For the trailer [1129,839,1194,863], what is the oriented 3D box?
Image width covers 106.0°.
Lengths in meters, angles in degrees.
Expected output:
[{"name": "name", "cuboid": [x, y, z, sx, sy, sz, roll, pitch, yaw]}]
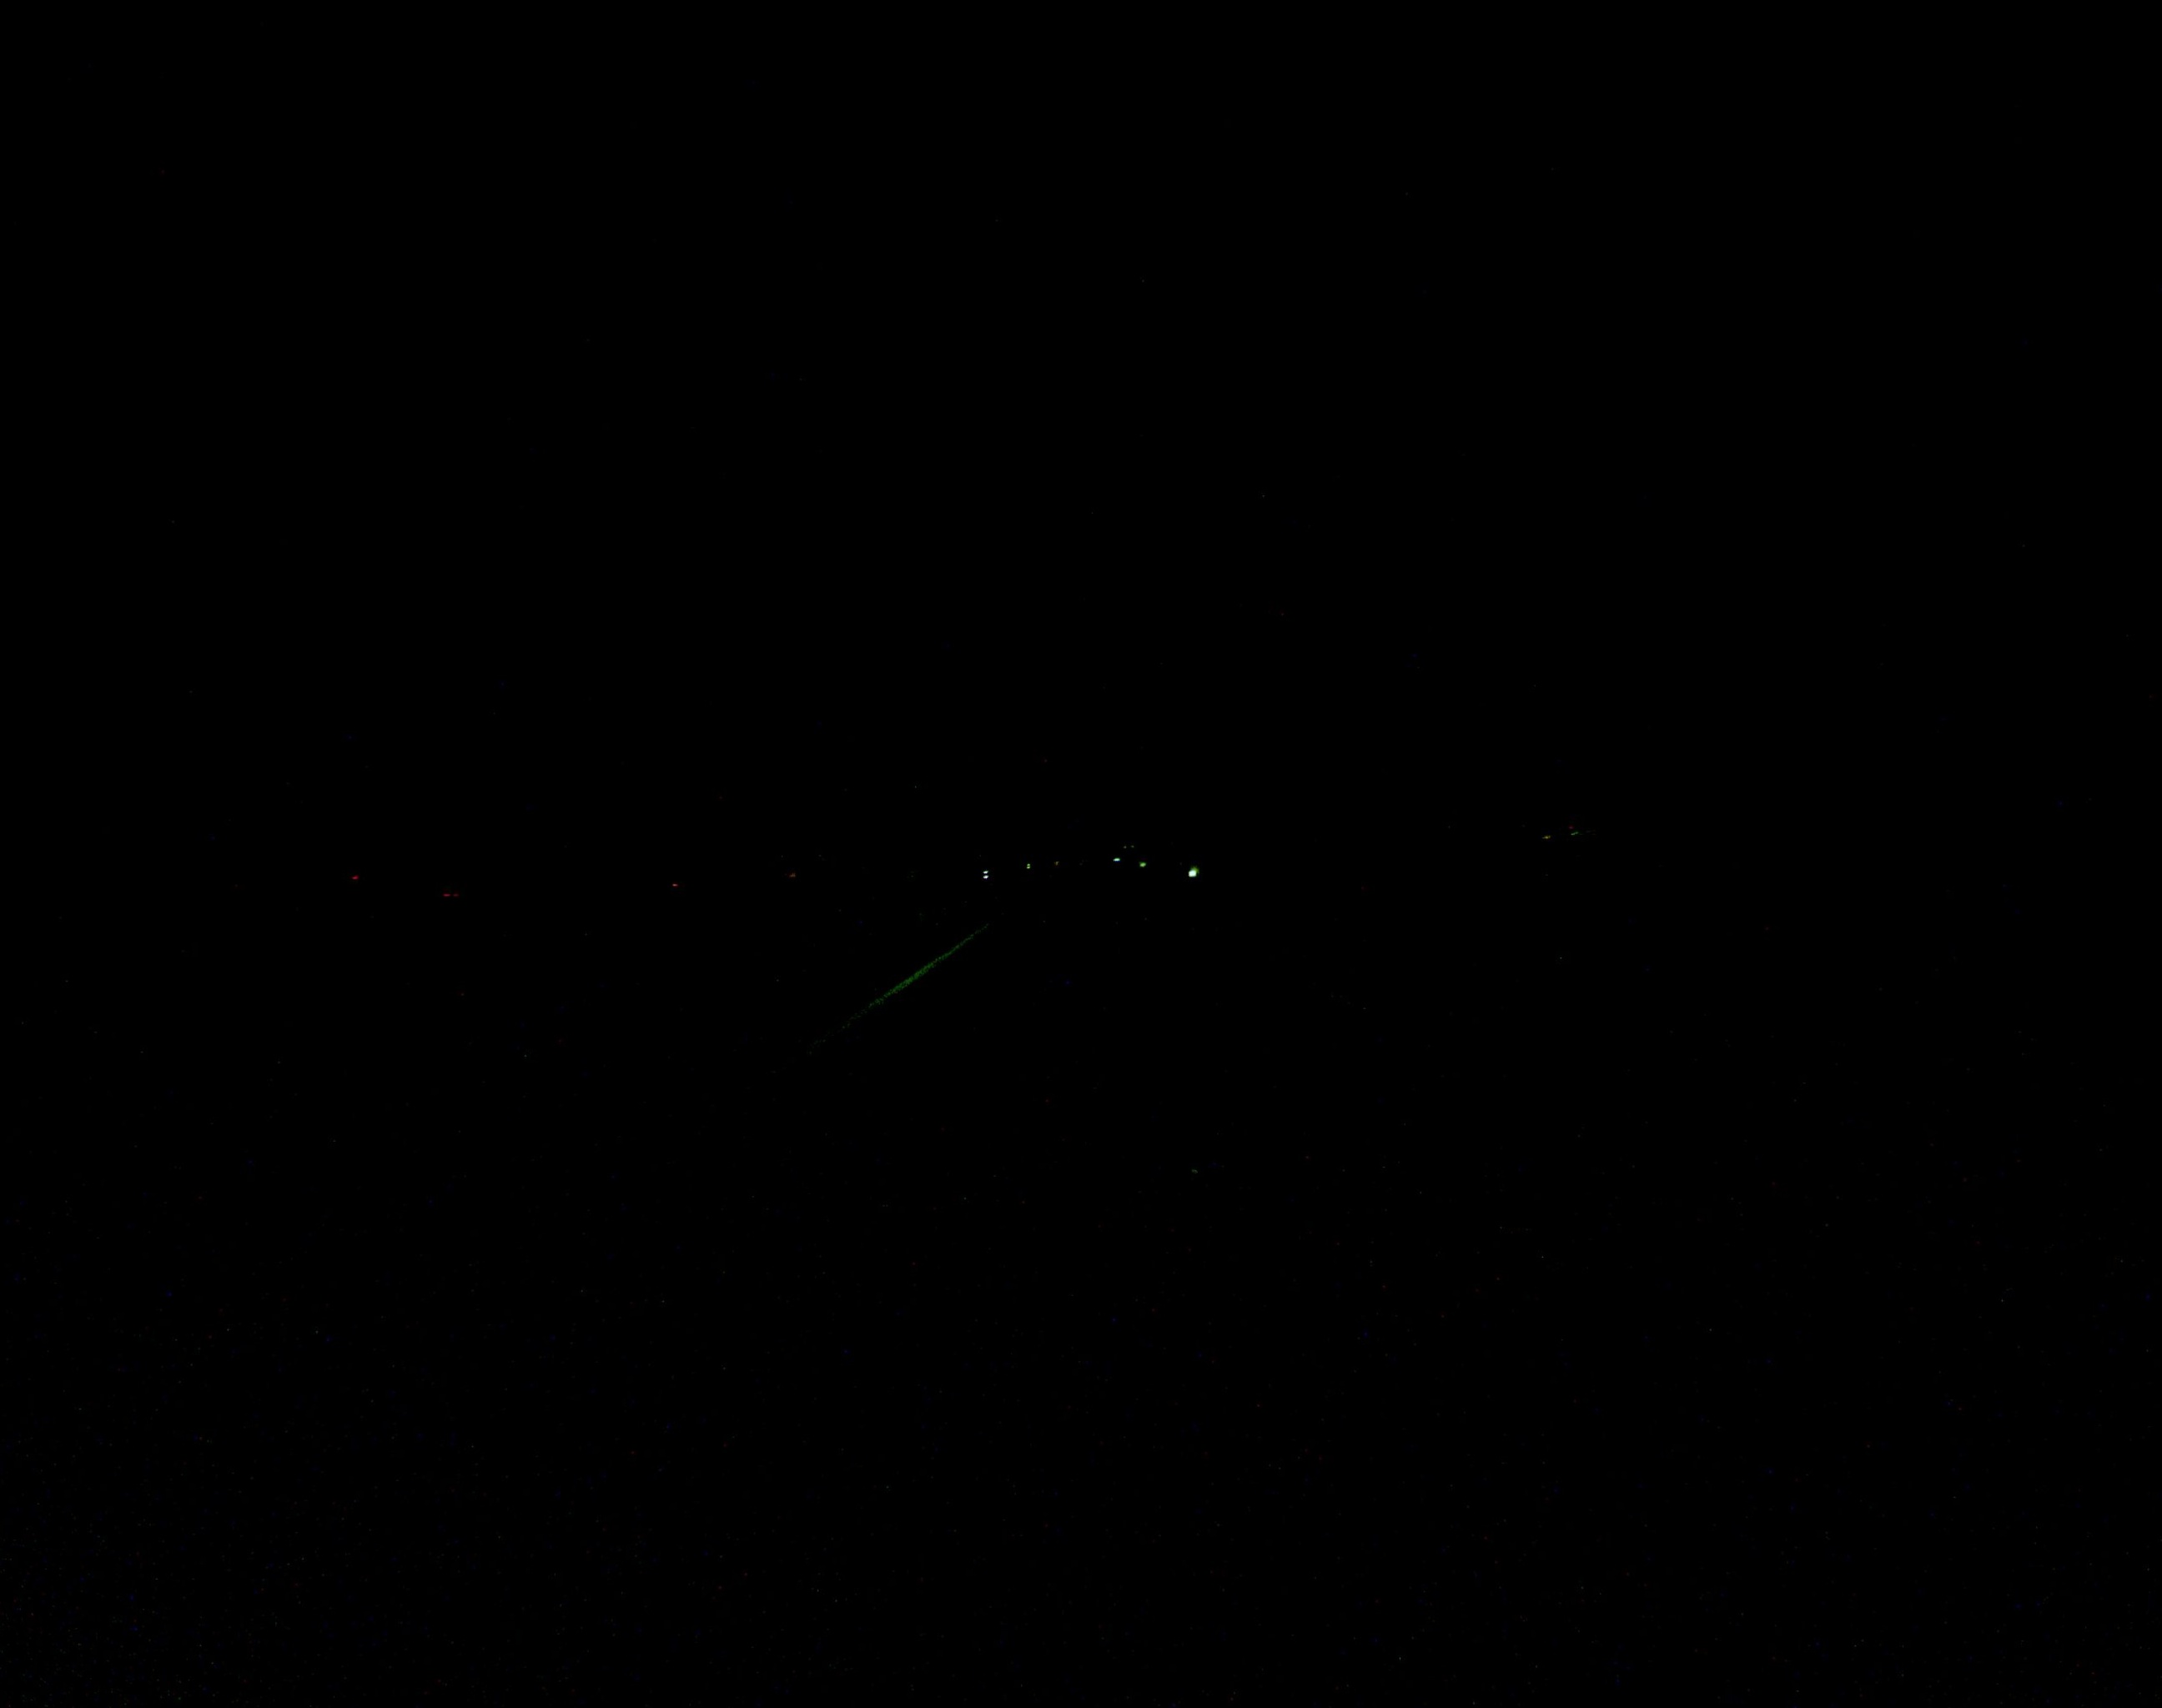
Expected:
[{"name": "trailer", "cuboid": [14.713, -0.593, 147.141, 14.091, 4.028, 2.746, -2, 1, -42]}]

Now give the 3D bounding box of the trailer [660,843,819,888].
[{"name": "trailer", "cuboid": [-32.008, 0.993, 77.074, 13.726, 3.725, 2.569, -2, 1, -41]}]

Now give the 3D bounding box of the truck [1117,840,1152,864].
[{"name": "truck", "cuboid": [9.362, -0.412, 142.361, 5.780, 4.028, 2.746, -2, 1, -42]}]

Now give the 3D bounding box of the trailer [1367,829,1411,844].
[{"name": "trailer", "cuboid": [60.469, -3.431, 159.500, 12.931, 2.699, 2.663, -2, 1, -43]}]

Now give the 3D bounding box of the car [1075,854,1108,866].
[{"name": "car", "cuboid": [1.432, 0.775, 108.000, 4.021, 1.519, 1.976, -1, 1, -41]}]

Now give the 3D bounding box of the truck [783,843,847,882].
[{"name": "truck", "cuboid": [-26.673, 0.826, 81.778, 5.488, 3.711, 2.565, -2, 1, -41]}]

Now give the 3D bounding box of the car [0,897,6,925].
[{"name": "car", "cuboid": [-80.692, 4.238, 58.070, 4.494, 2.013, 1.976, -2, 1, -42]}]
